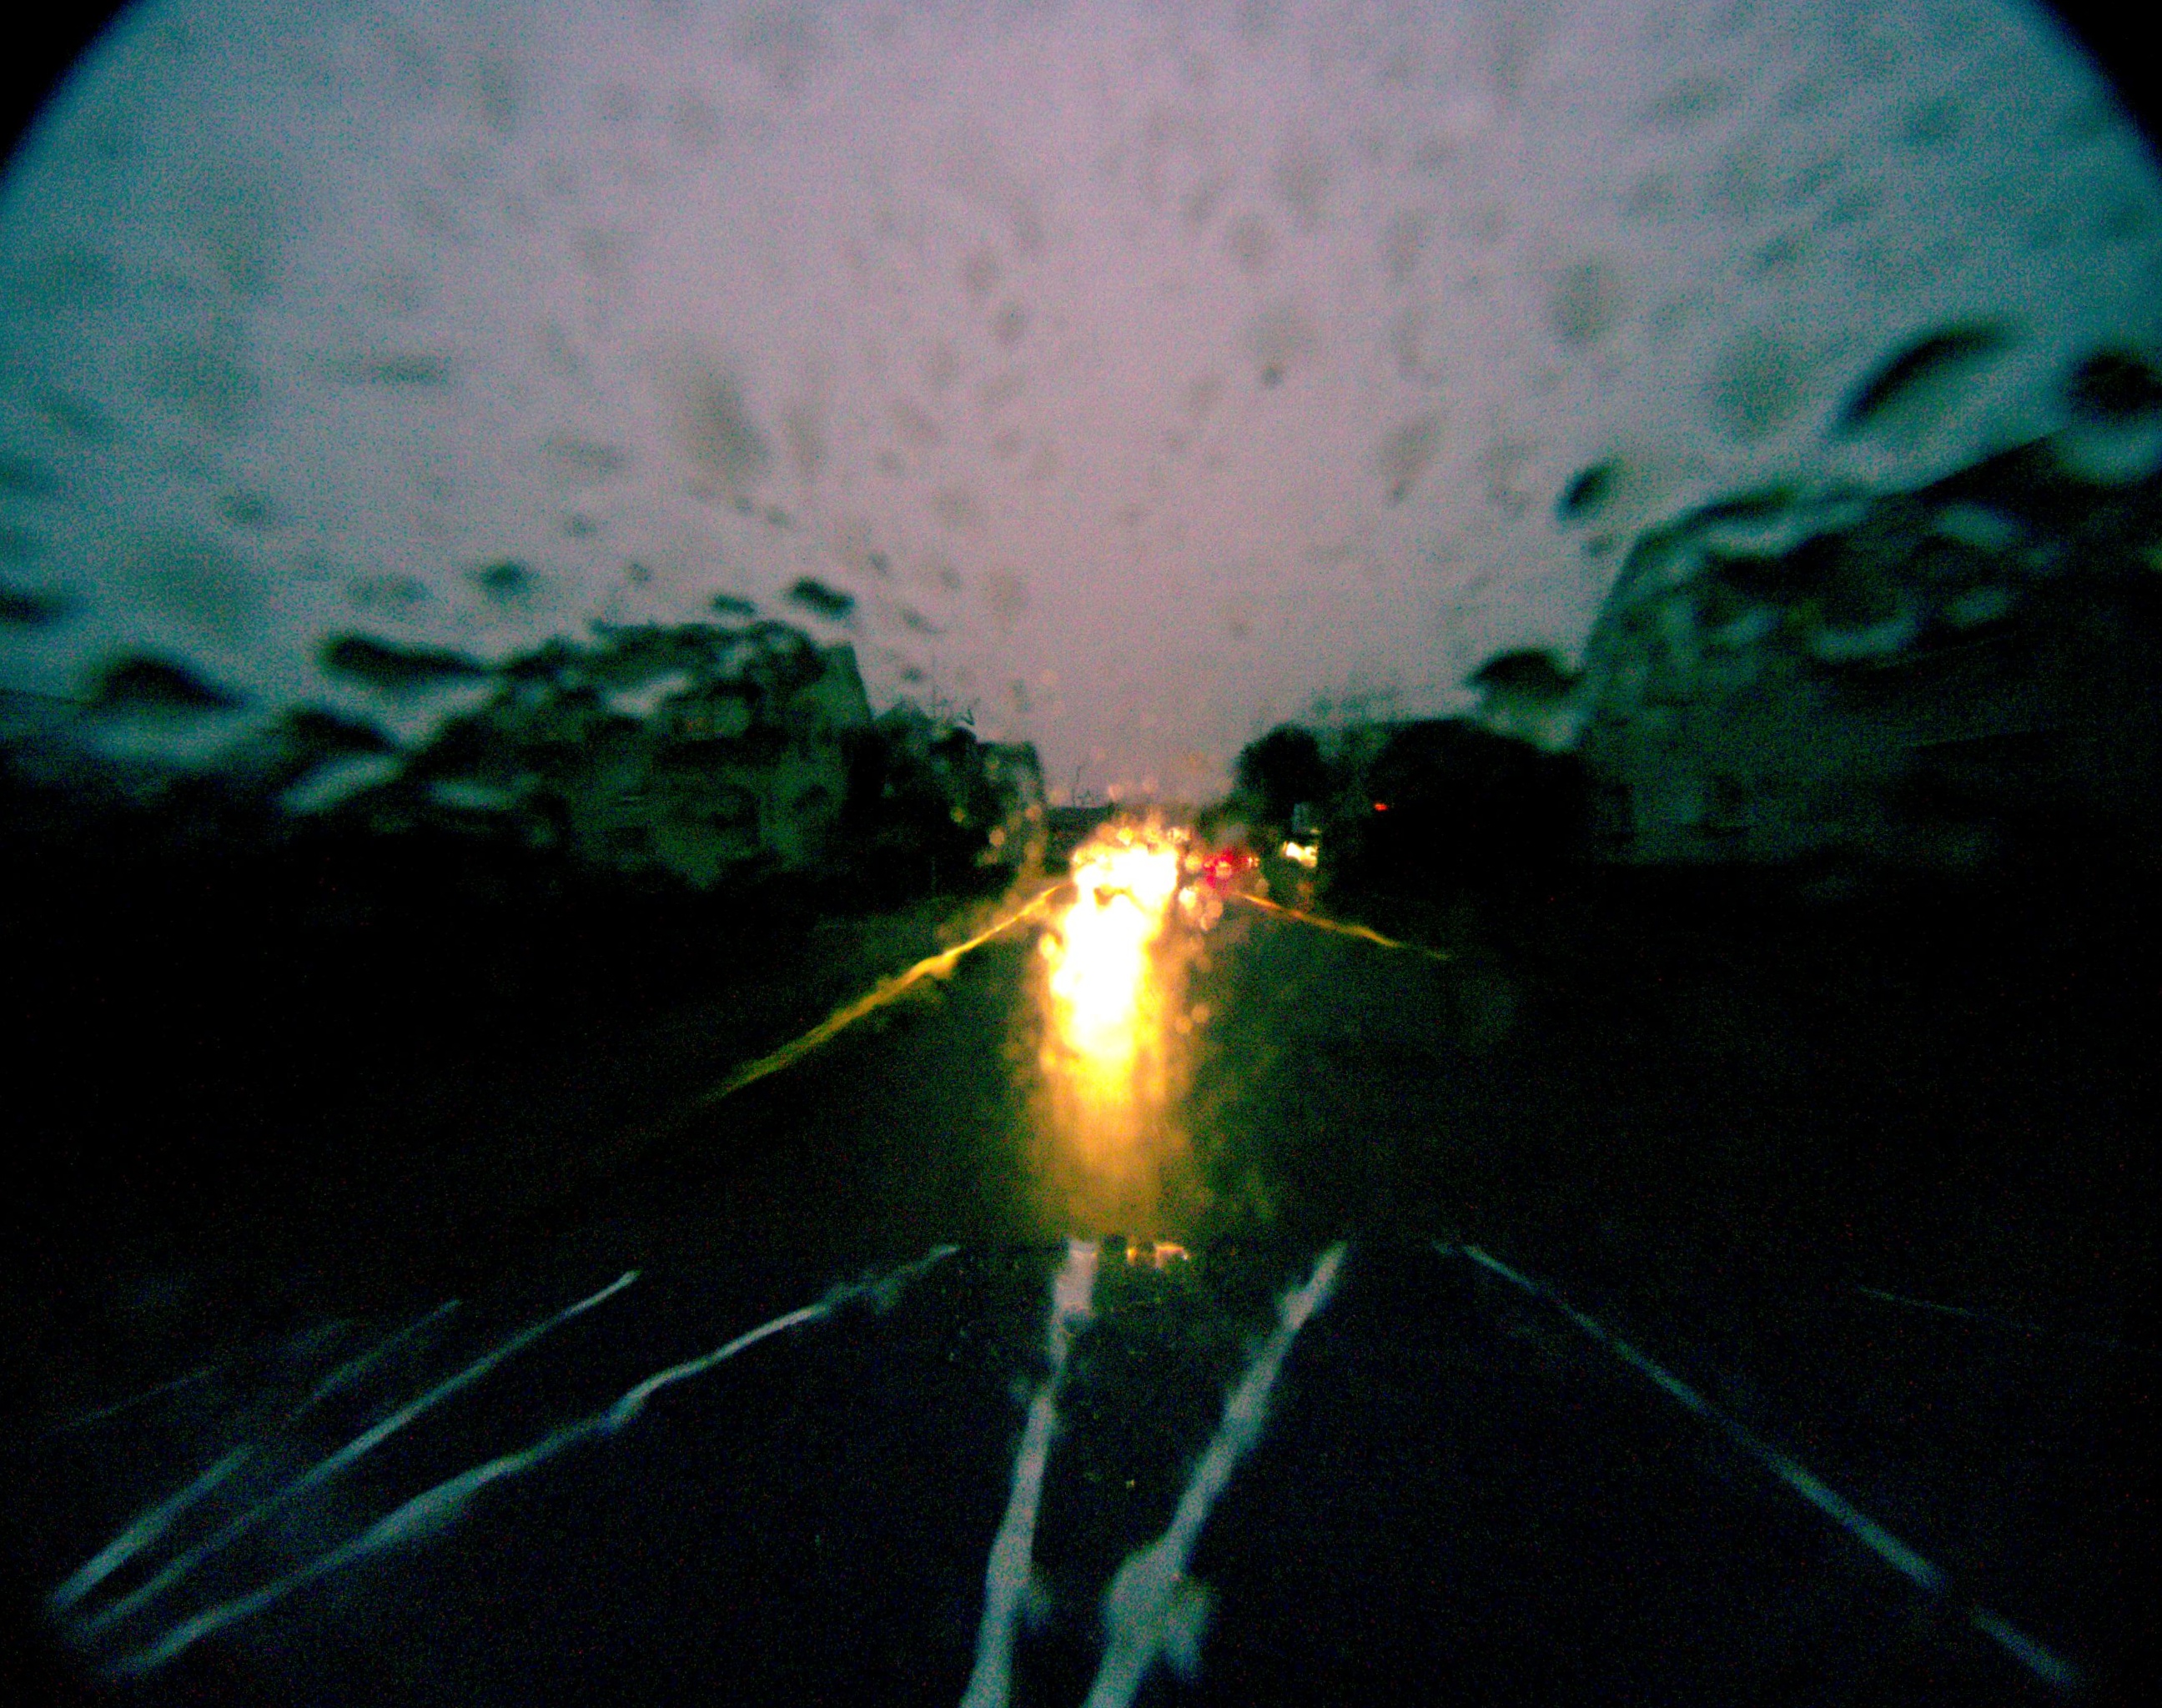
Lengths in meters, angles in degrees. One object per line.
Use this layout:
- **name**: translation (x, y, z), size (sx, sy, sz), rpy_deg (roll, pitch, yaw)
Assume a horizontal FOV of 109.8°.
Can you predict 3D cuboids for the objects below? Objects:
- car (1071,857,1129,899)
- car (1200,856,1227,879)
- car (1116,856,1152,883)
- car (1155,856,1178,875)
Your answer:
- **car**: translation (0.831, 0.924, 30.544), size (1.997, 1.575, 4.002), rpy_deg (-1, 0, 6)
- **car**: translation (10.611, 1.045, 60.802), size (1.966, 1.688, 4.002), rpy_deg (-2, 0, 10)
- **car**: translation (3.491, 0.997, 49.553), size (1.997, 1.660, 4.003), rpy_deg (-1, 0, 8)
- **car**: translation (8.142, 1.052, 72.291), size (1.774, 1.608, 3.875), rpy_deg (-2, 0, 12)
